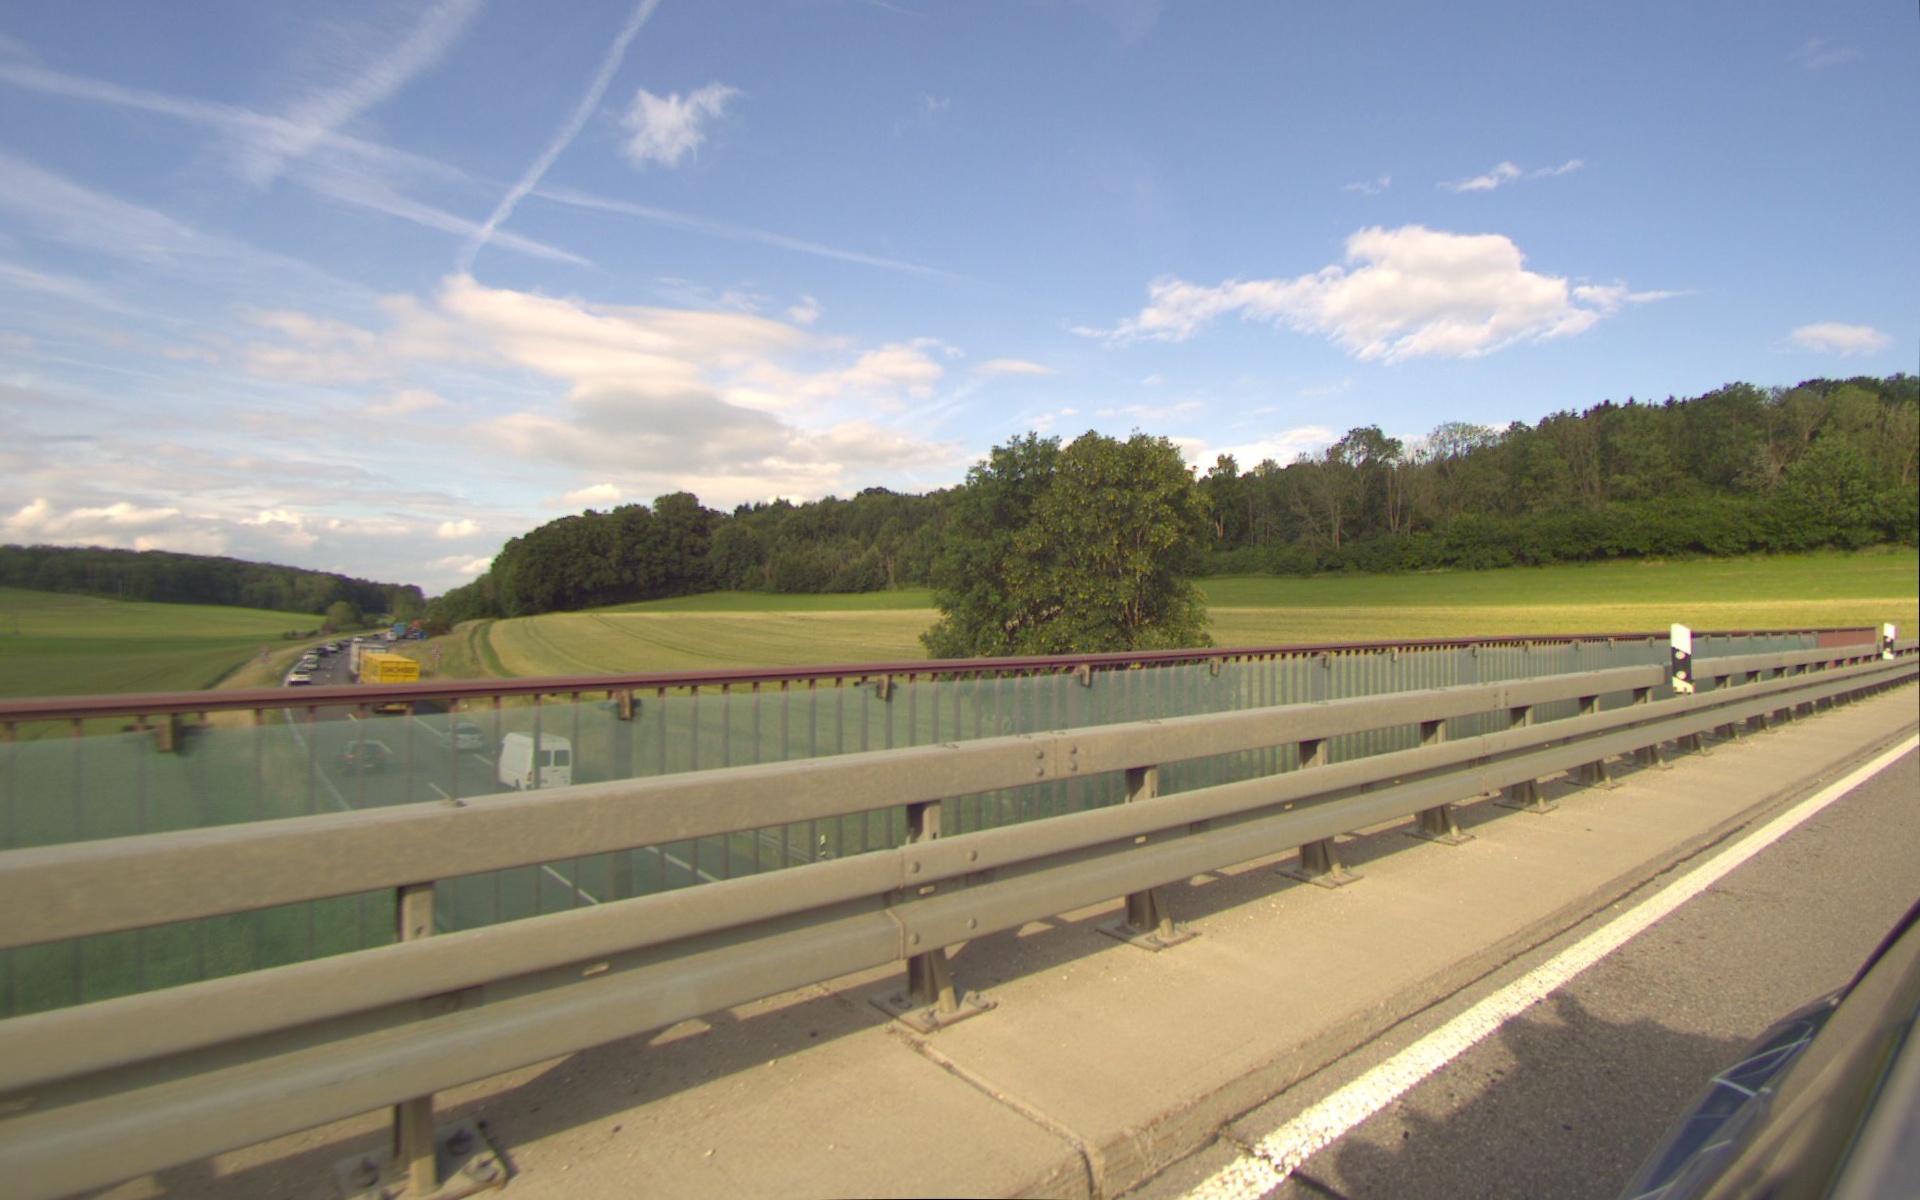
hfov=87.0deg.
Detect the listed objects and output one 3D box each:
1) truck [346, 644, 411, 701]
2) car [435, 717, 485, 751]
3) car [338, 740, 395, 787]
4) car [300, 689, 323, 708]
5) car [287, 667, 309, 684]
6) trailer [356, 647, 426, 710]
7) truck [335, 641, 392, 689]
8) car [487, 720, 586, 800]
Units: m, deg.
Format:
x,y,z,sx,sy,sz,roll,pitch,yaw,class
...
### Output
x,y,z,sx,sy,sz,roll,pitch,yaw,class
-48.853,5.940,84.861,3.766,4.111,9.799,-2,0,-35,truck
-27.947,7.440,56.542,1.769,1.488,3.997,3,-3,-37,car
-26.211,7.162,44.650,1.652,1.539,3.996,1,-2,-38,car
-51.239,7.781,79.977,1.352,1.284,3.097,1,-2,-35,car
-65.213,7.427,99.709,1.578,1.412,3.324,1,-2,-38,car
-43.526,5.833,77.205,3.765,4.111,9.128,-2,0,-35,trailer
-63.880,6.816,108.224,4.004,4.045,14.423,-4,2,-35,truck
-18.444,6.836,43.899,2.329,2.618,6.120,6,-4,-37,car
